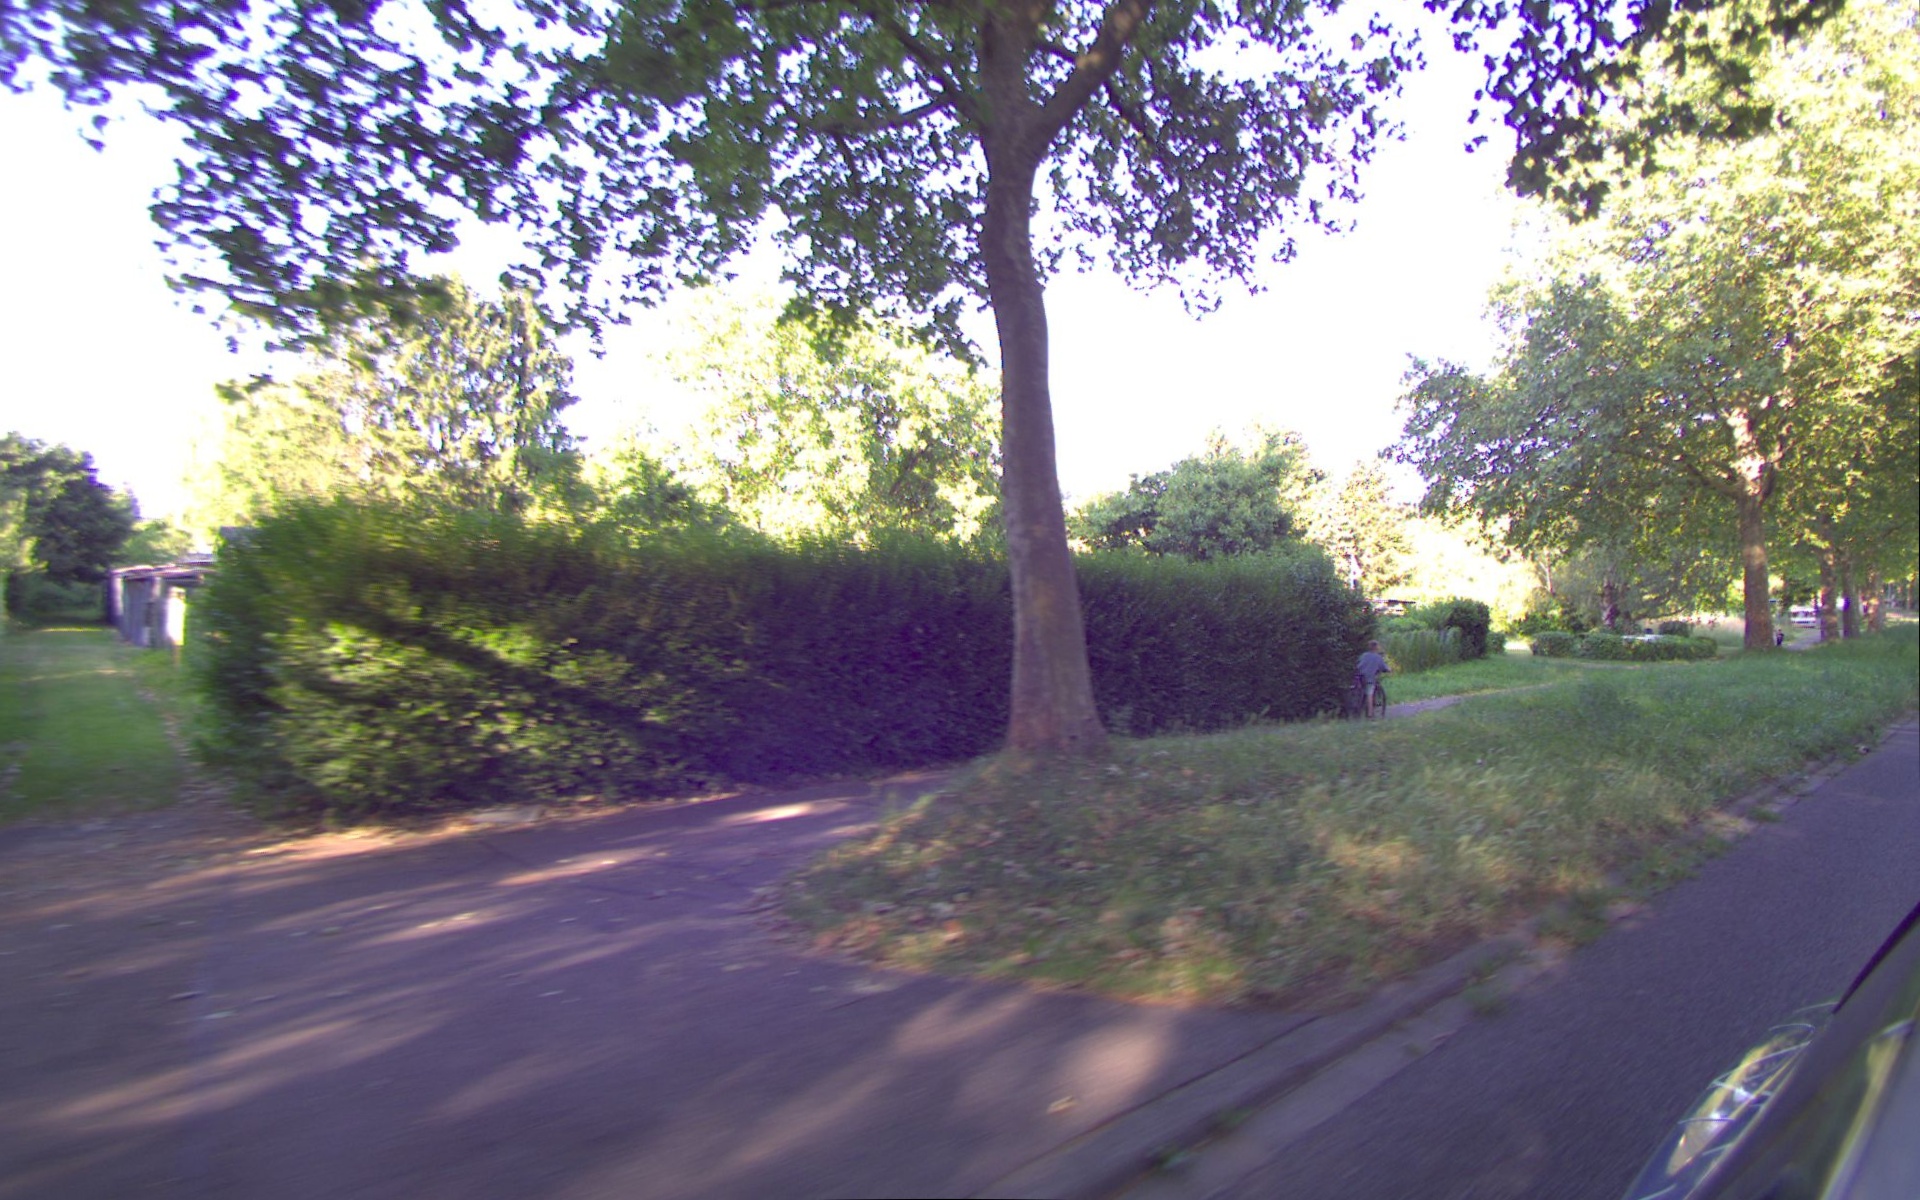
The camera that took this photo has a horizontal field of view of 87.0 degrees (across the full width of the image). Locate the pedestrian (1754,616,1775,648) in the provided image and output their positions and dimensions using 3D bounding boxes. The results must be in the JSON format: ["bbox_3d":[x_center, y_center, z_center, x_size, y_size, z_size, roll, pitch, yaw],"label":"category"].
[{"bbox_3d":[42.437,1.677,53.362,0.840,1.596,0.774,0,0,37],"label":"pedestrian"}]

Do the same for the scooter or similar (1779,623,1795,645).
[{"bbox_3d":[46.282,1.908,56.633,1.570,1.149,0.340,0,0,-39],"label":"scooter or similar"}]

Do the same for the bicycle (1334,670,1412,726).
[{"bbox_3d":[7.455,1.745,18.232,1.856,0.827,0.553,-1,0,-43],"label":"bicycle"}]

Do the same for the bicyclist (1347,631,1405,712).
[{"bbox_3d":[7.517,1.265,18.285,0.758,1.383,0.734,0,0,-43],"label":"bicyclist"}]

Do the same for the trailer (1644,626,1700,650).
[{"bbox_3d":[36.041,1.904,51.239,1.179,1.066,2.122,0,1,-40],"label":"trailer"}]

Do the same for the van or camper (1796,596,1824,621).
[{"bbox_3d":[97.860,0.948,116.524,2.378,2.835,5.600,0,1,41],"label":"van or camper"}]

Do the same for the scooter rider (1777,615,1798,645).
[{"bbox_3d":[46.195,1.653,56.469,0.830,1.596,0.783,0,0,-41],"label":"scooter rider"}]
